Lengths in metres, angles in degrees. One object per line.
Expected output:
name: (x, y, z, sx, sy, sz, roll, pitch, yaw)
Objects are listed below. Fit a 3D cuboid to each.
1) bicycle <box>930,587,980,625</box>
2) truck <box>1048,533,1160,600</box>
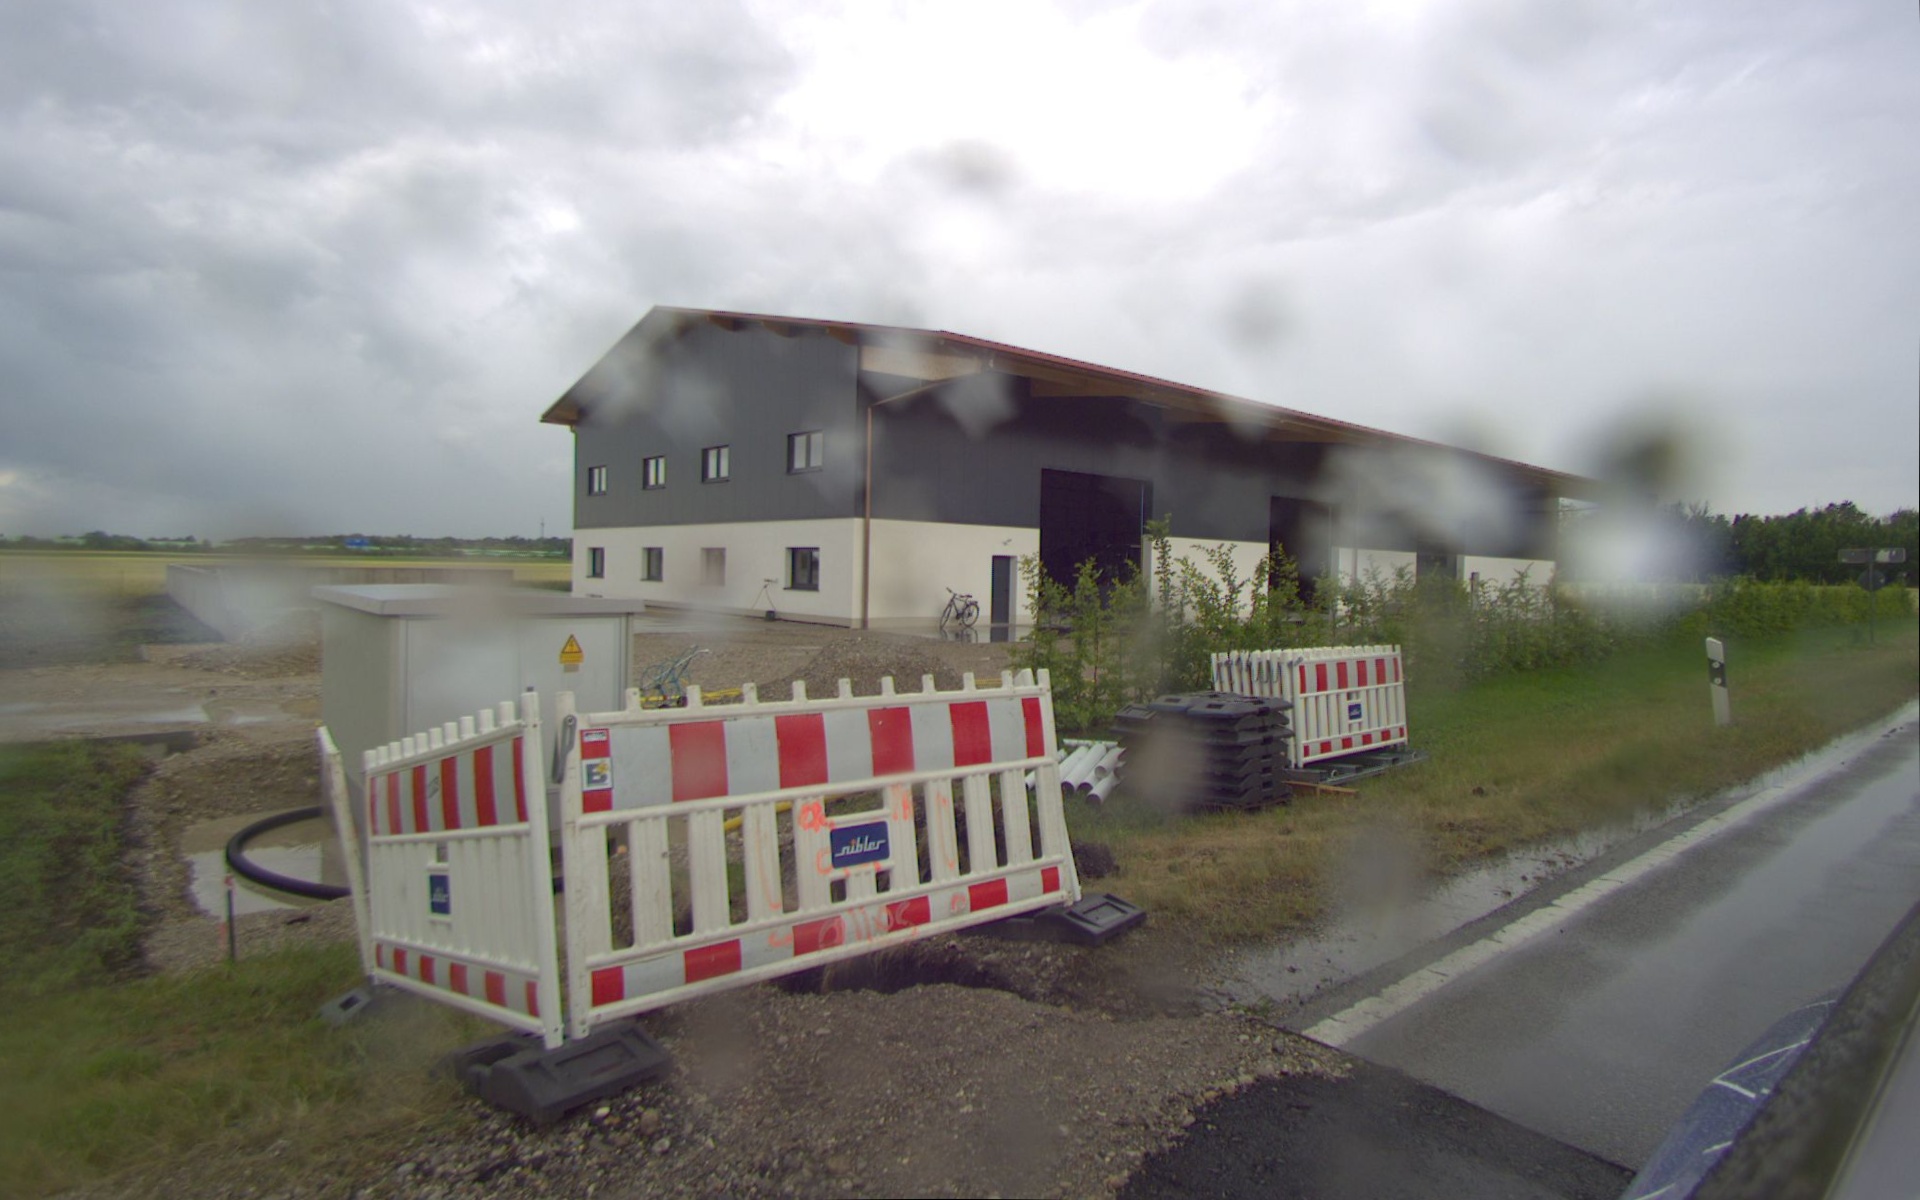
bicycle: (-0.143, 0.156, 30.105, 1.632, 1.085, 0.391, -1, 2, -41)
truck: (7.024, -1.618, 49.106, 5.251, 3.050, 2.495, -1, 3, -41)
